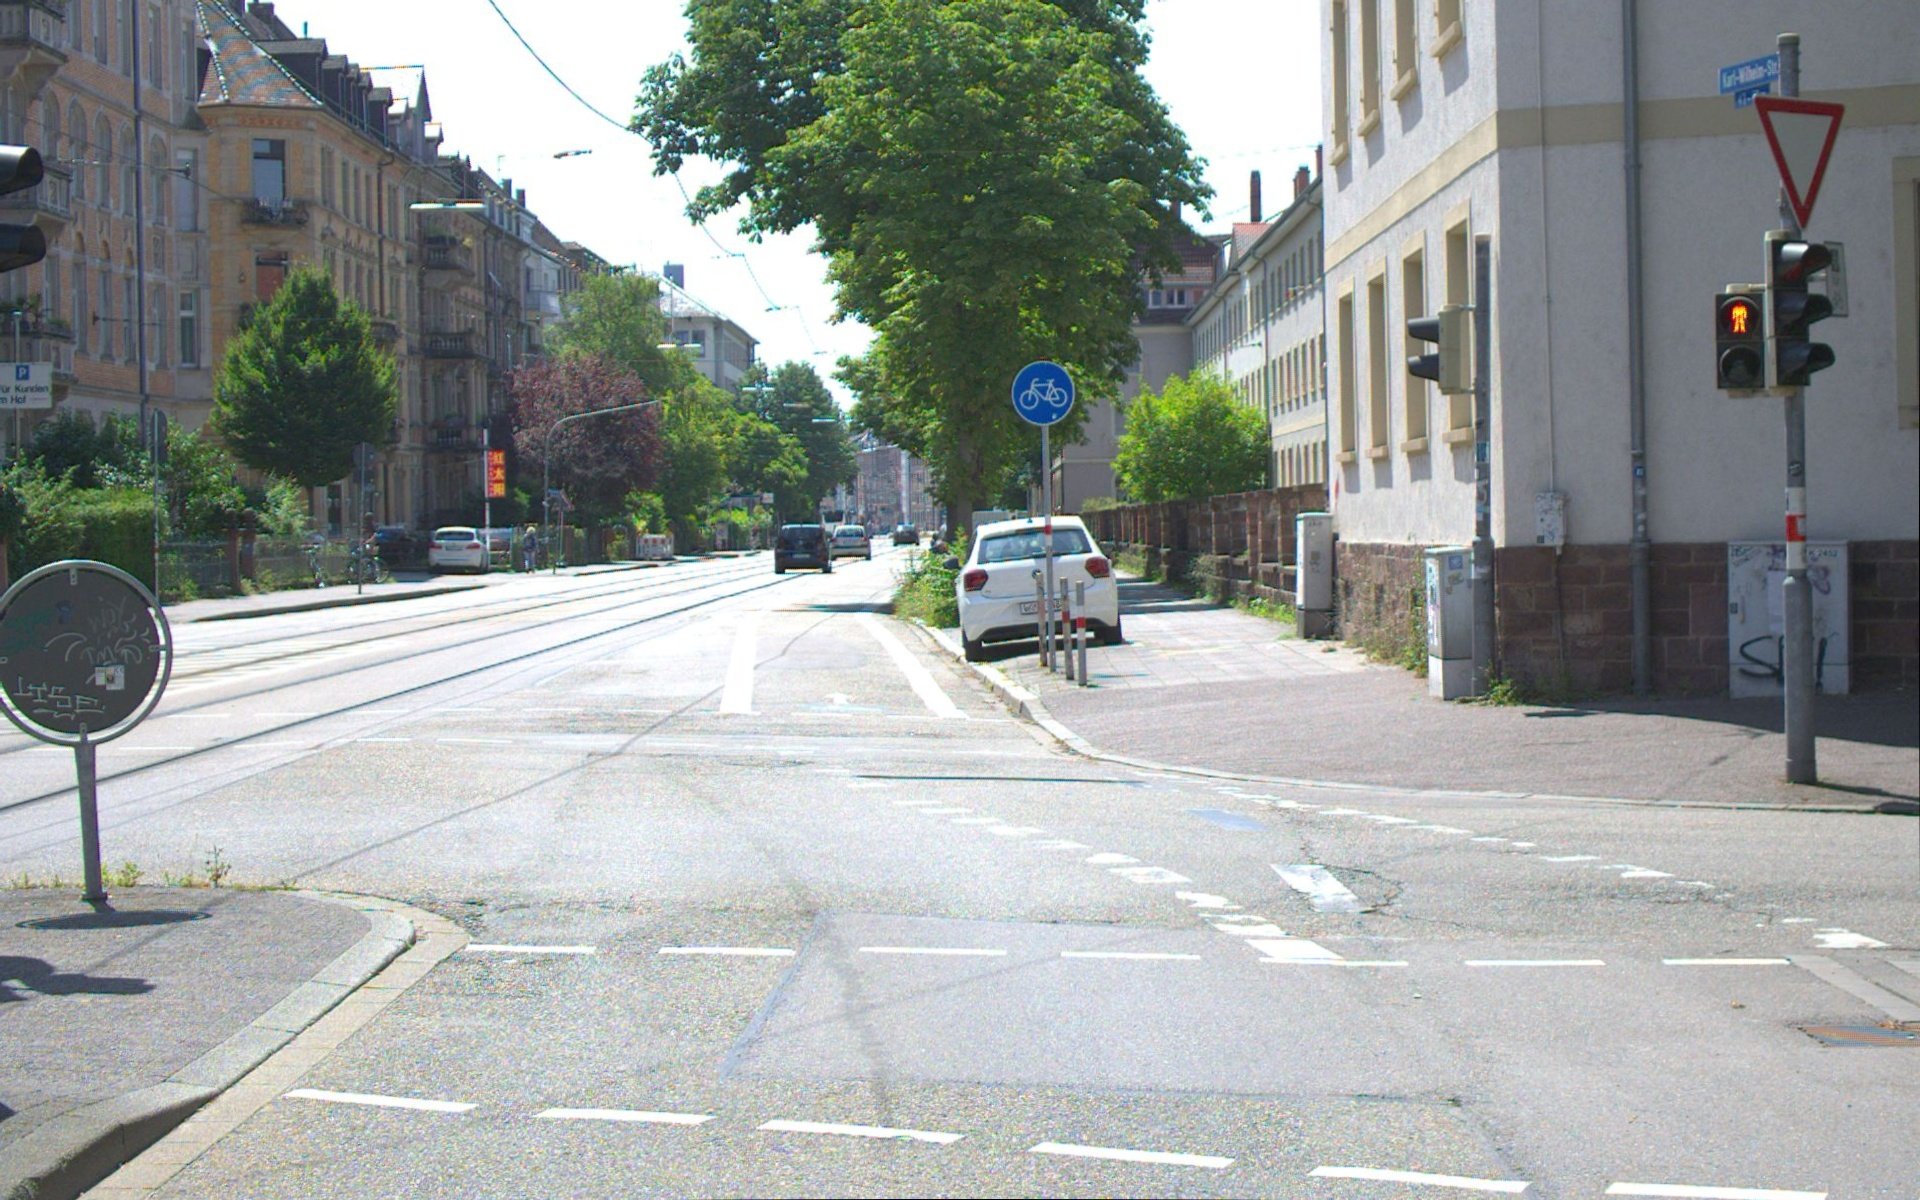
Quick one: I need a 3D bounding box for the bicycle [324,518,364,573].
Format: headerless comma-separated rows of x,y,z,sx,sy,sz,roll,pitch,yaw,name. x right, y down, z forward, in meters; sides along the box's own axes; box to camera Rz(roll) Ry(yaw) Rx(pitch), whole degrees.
-15.573,-1.384,86.981,0.577,1.383,2.501,0,1,-1,bicycle

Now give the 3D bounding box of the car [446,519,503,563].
-17.594,-2.130,124.747,1.628,1.467,3.564,-4,1,-2,car

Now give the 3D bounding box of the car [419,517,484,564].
-17.203,-2.008,116.477,1.684,1.467,3.939,-4,1,-2,car

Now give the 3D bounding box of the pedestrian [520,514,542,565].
-14.542,-2.059,116.530,0.678,1.721,0.677,0,1,-1,pedestrian

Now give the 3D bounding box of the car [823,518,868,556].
-4.836,-2.655,145.673,1.747,1.467,3.938,-4,1,-1,car

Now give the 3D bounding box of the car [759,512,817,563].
-5.165,-1.875,103.449,1.525,1.439,3.365,-2,1,0,car

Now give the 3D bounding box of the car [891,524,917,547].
-3.900,-4.487,238.134,1.628,1.467,3.564,-4,1,-2,car

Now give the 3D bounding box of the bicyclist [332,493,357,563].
-15.564,-1.823,86.948,0.542,1.757,0.498,0,1,-1,bicyclist

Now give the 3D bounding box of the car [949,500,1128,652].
0.817,-0.285,37.987,1.747,1.467,3.938,-4,1,-1,car
